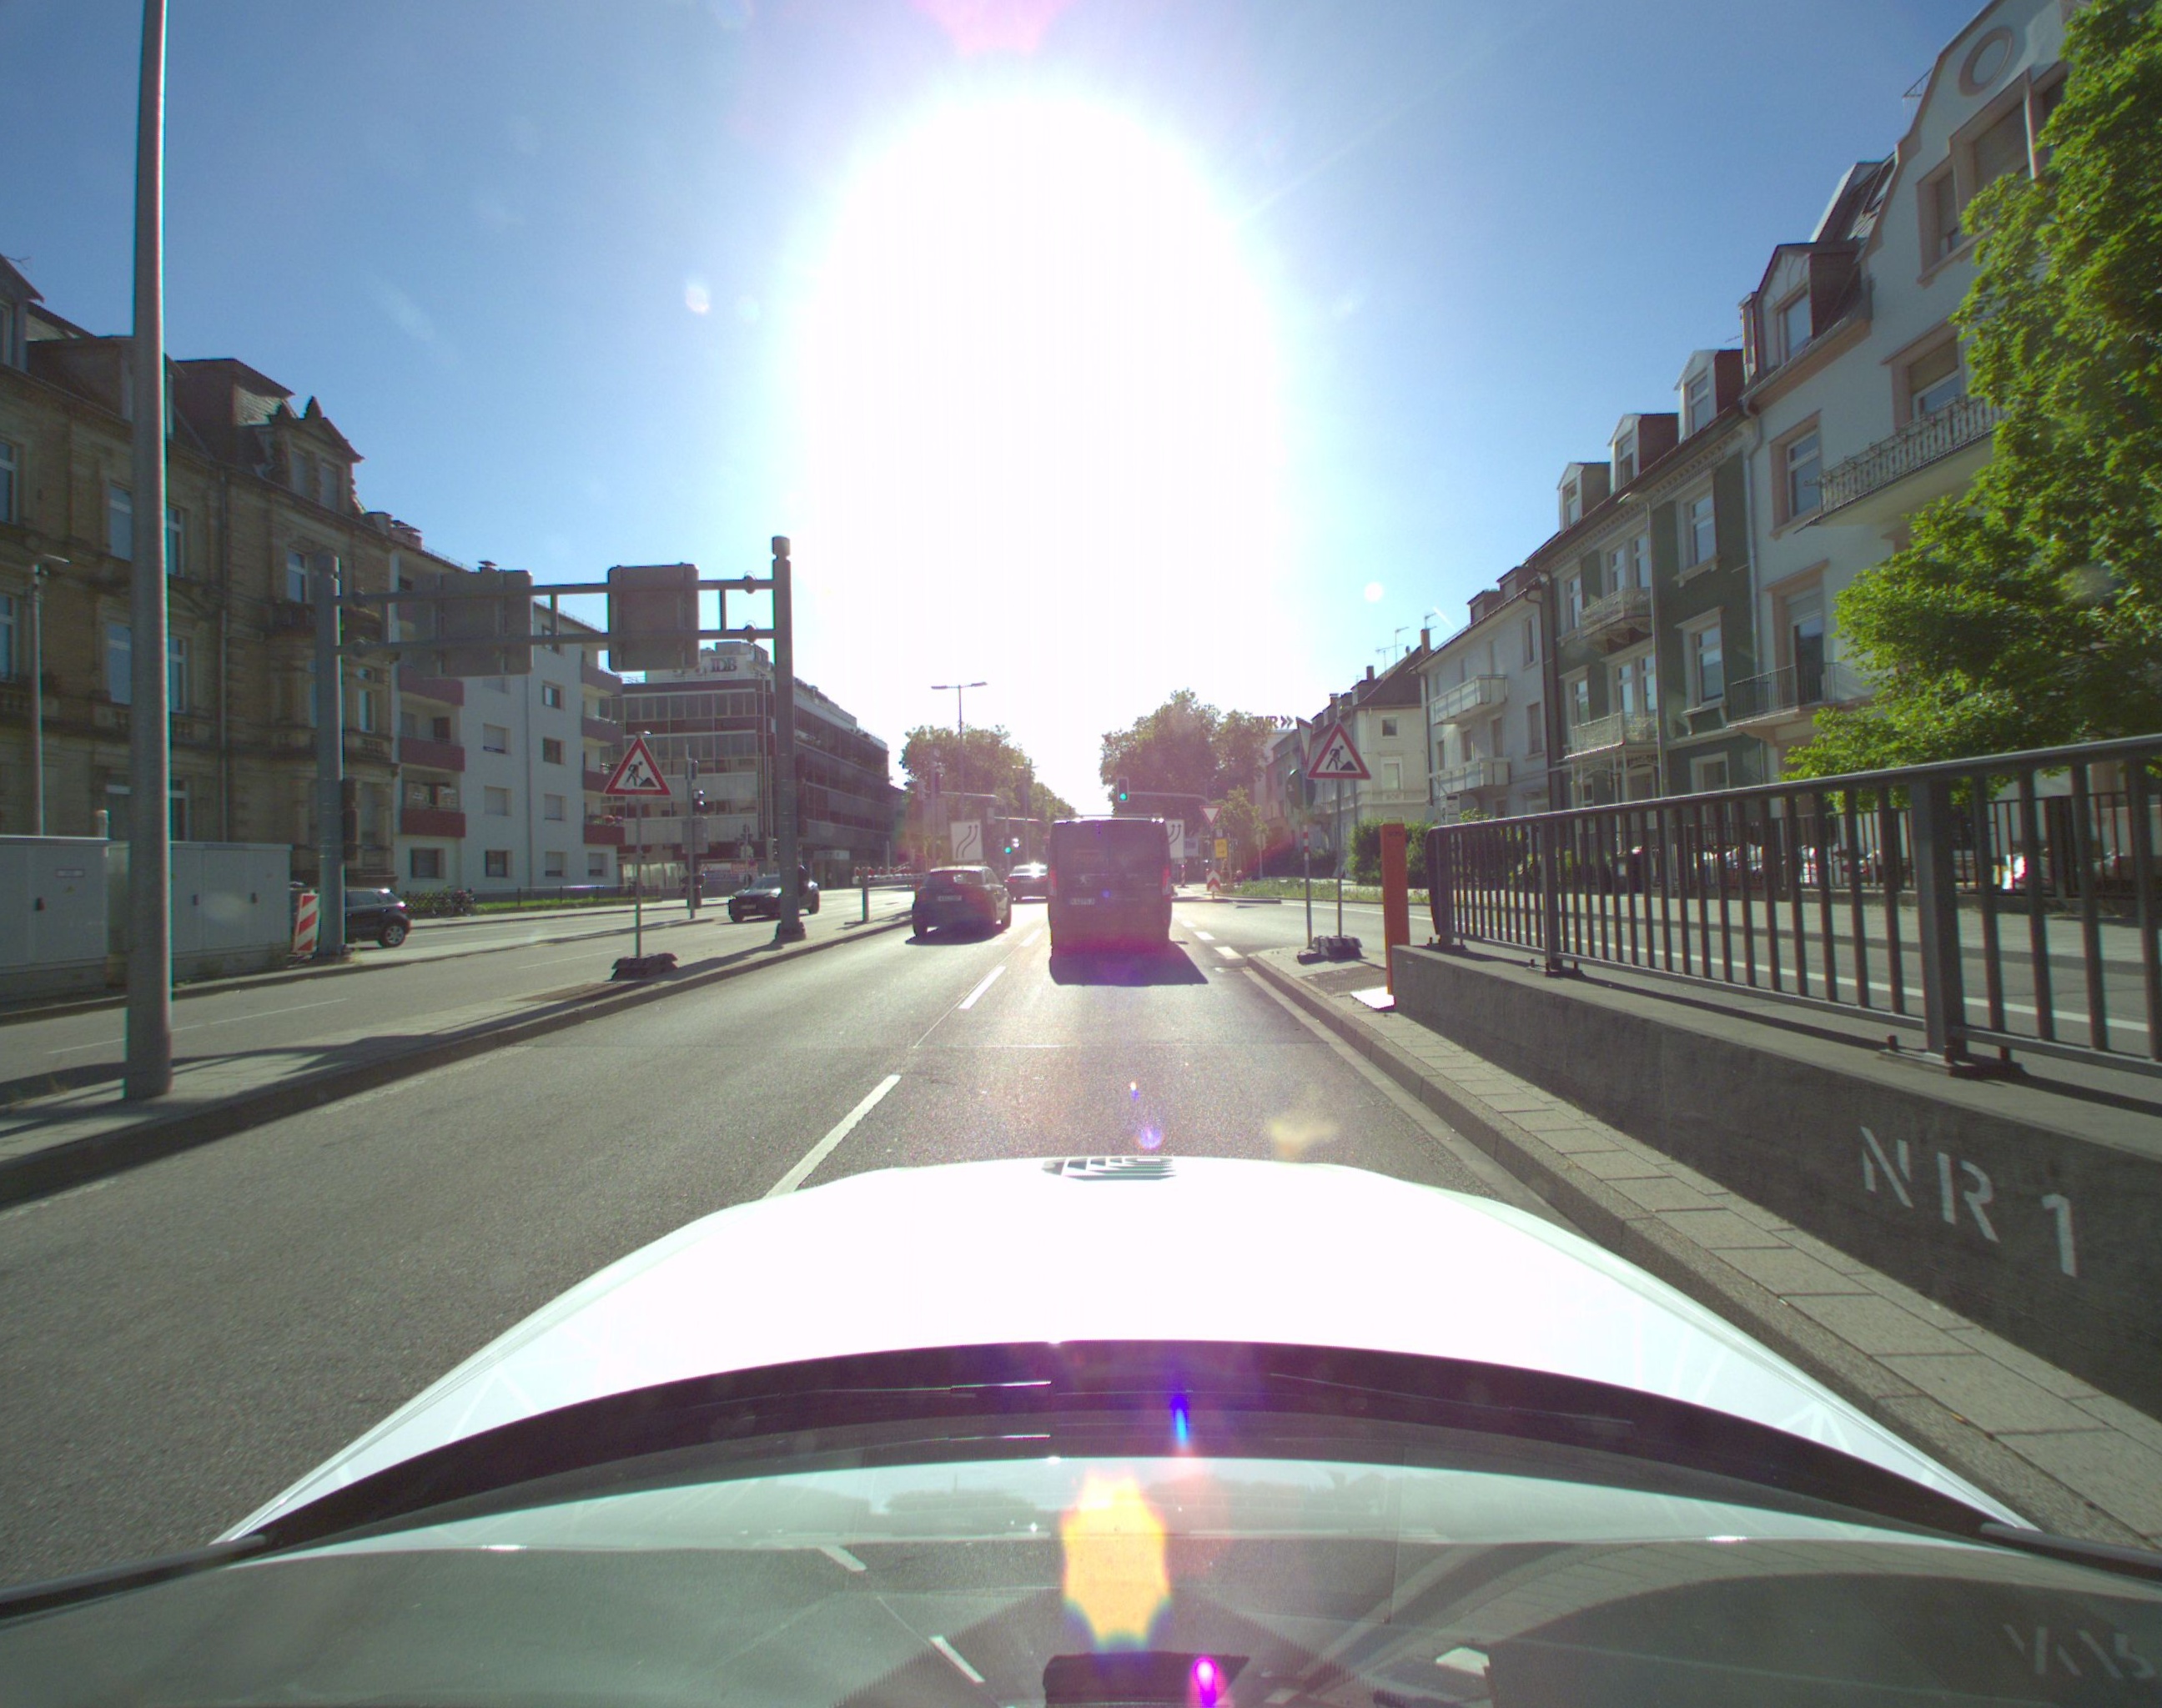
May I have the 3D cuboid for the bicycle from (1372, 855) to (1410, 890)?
[{"bbox_3d":[13.284,0.780,34.969,0.705,1.443,2.492,0,-1,2],"label":"bicycle"}]

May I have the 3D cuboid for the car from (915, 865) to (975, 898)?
[{"bbox_3d":[-6.991,1.395,42.246,1.985,1.453,4.623,-2,0,4],"label":"car"}]

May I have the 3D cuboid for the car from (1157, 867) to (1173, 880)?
[{"bbox_3d":[10.246,2.387,99.738,1.756,1.508,4.253,-1,-1,2],"label":"car"}]

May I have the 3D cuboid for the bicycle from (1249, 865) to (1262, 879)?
[{"bbox_3d":[14.210,1.434,66.487,0.686,1.098,1.687,-2,-1,1],"label":"bicycle"}]

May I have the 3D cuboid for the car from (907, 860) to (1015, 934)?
[{"bbox_3d":[-2.522,0.860,18.037,1.740,1.407,4.001,0,0,1],"label":"car"}]

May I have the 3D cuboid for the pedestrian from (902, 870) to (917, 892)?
[{"bbox_3d":[-14.222,2.237,67.511,0.859,1.711,1.015,-2,-1,9],"label":"pedestrian"}]

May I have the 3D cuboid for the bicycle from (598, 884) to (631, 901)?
[{"bbox_3d":[-29.309,2.404,51.209,0.502,0.978,1.894,-2,-1,19],"label":"bicycle"}]

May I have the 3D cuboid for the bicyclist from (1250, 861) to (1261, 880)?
[{"bbox_3d":[14.231,1.358,66.516,0.720,1.500,0.872,-2,-1,3],"label":"bicyclist"}]

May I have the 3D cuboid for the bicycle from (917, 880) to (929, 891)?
[{"bbox_3d":[-15.396,3.026,79.412,0.624,1.037,1.881,-1,-1,4],"label":"bicycle"}]

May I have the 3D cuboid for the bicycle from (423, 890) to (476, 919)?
[{"bbox_3d":[-22.646,1.799,29.245,0.303,0.958,1.941,-2,-1,3],"label":"bicycle"}]

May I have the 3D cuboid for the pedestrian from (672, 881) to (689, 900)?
[{"bbox_3d":[-24.798,2.241,50.472,0.717,1.153,0.786,-1,-2,-10],"label":"pedestrian"}]

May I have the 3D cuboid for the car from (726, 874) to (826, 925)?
[{"bbox_3d":[-10.415,1.519,28.190,1.601,1.441,4.313,-4,-1,2],"label":"car"}]

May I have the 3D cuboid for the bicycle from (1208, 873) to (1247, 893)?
[{"bbox_3d":[7.836,1.550,43.547,1.955,1.025,0.605,0,-1,1],"label":"bicycle"}]

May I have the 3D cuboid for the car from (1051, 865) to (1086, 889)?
[{"bbox_3d":[-0.760,1.440,51.734,1.903,1.444,4.606,0,0,3],"label":"car"}]

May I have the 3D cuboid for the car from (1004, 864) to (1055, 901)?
[{"bbox_3d":[-2.032,1.125,32.949,1.740,1.407,4.000,0,-1,1],"label":"car"}]

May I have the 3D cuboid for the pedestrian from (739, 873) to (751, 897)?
[{"bbox_3d":[-23.554,2.149,57.101,0.702,1.658,0.739,-1,-1,-28],"label":"pedestrian"}]

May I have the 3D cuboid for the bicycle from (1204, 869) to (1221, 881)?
[{"bbox_3d":[11.599,1.826,71.719,0.581,1.005,2.145,-2,-2,37],"label":"bicycle"}]

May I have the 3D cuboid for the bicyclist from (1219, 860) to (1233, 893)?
[{"bbox_3d":[7.776,1.202,43.610,0.601,1.708,0.859,-2,-1,2],"label":"bicyclist"}]

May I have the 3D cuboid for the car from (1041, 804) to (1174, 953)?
[{"bbox_3d":[0.479,0.409,14.936,2.087,2.355,3.934,-1,-1,2],"label":"car"}]

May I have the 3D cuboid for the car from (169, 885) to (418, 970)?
[{"bbox_3d":[-16.854,1.504,17.716,1.620,1.438,3.694,-3,0,4],"label":"car"}]
